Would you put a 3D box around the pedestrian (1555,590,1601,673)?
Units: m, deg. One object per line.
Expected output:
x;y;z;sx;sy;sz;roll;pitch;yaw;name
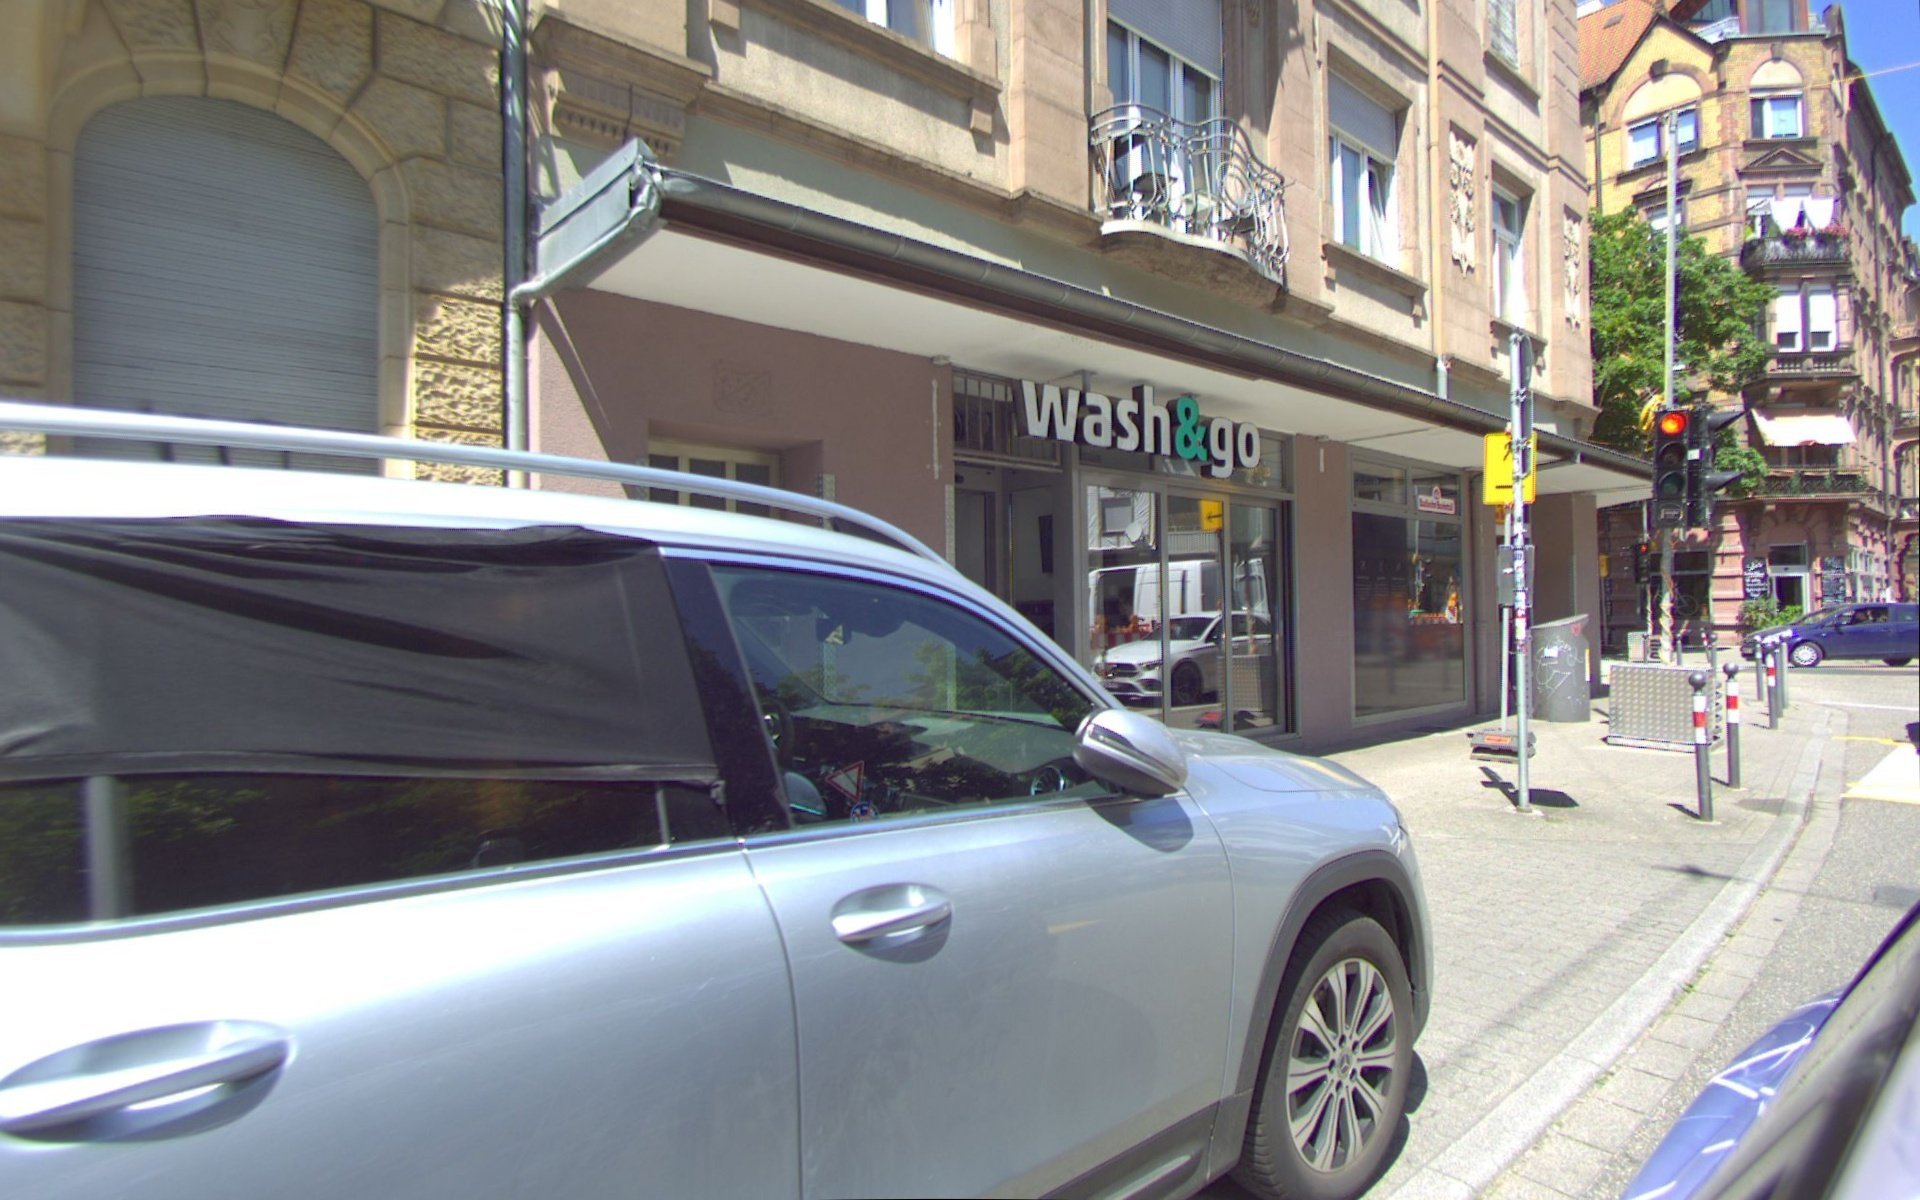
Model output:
12.614;0.639;20.659;0.701;1.667;0.416;1;-3;42;pedestrian

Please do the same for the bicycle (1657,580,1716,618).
22.975;-0.026;32.016;0.501;1.167;1.425;0;-2;-38;bicycle

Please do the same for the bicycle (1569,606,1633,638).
21.200;0.718;33.491;0.513;1.021;1.694;0;-1;-40;bicycle

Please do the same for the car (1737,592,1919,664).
20.428;0.612;22.955;3.938;1.488;1.774;-3;-2;12;car

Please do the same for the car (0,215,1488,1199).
-0.772;0.535;2.118;4.425;1.735;1.874;0;0;-41;car
